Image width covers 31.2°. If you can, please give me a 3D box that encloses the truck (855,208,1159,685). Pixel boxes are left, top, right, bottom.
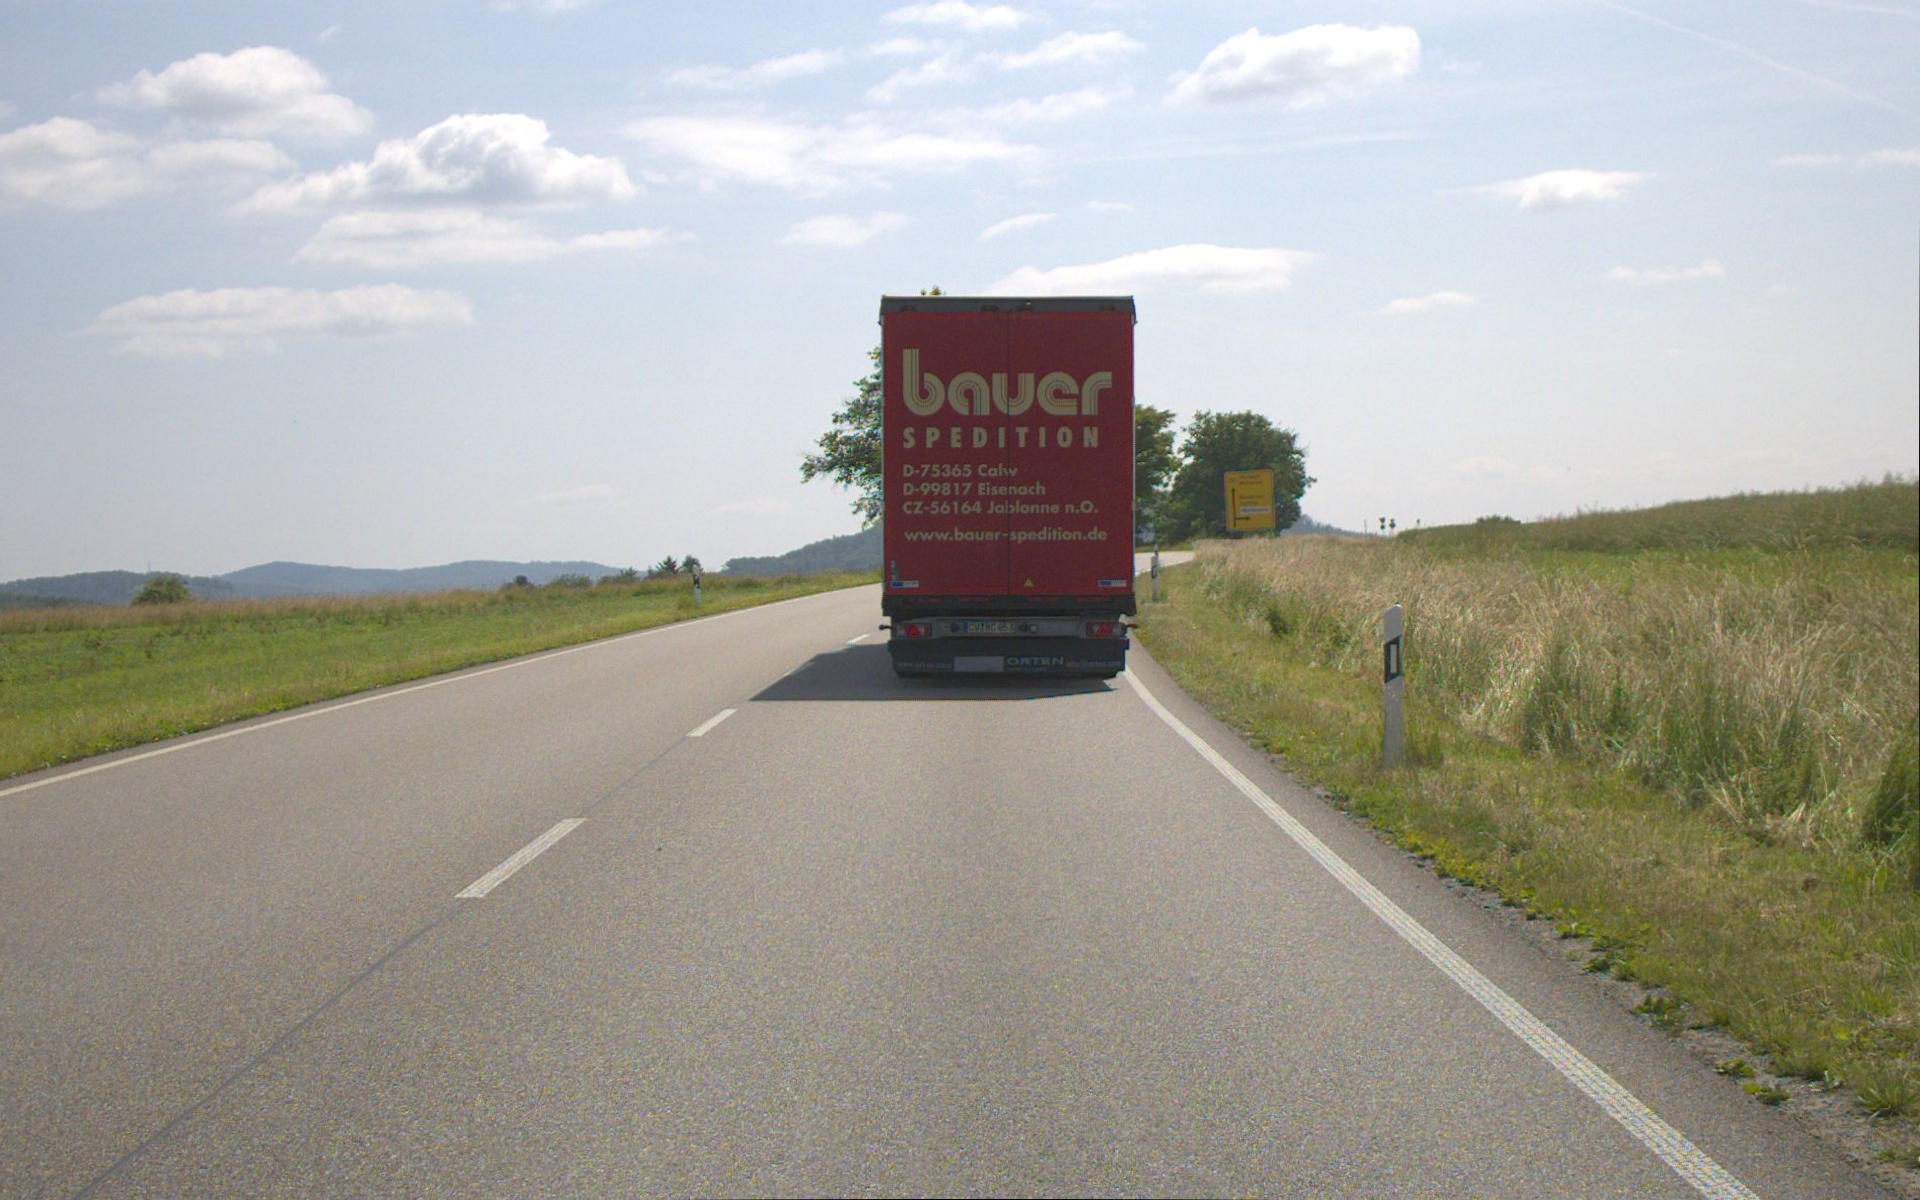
[{"bbox_3d":[0.487,-1.658,38.689,2.975,4.697,9.367,0,2,0],"label":"truck"}]
